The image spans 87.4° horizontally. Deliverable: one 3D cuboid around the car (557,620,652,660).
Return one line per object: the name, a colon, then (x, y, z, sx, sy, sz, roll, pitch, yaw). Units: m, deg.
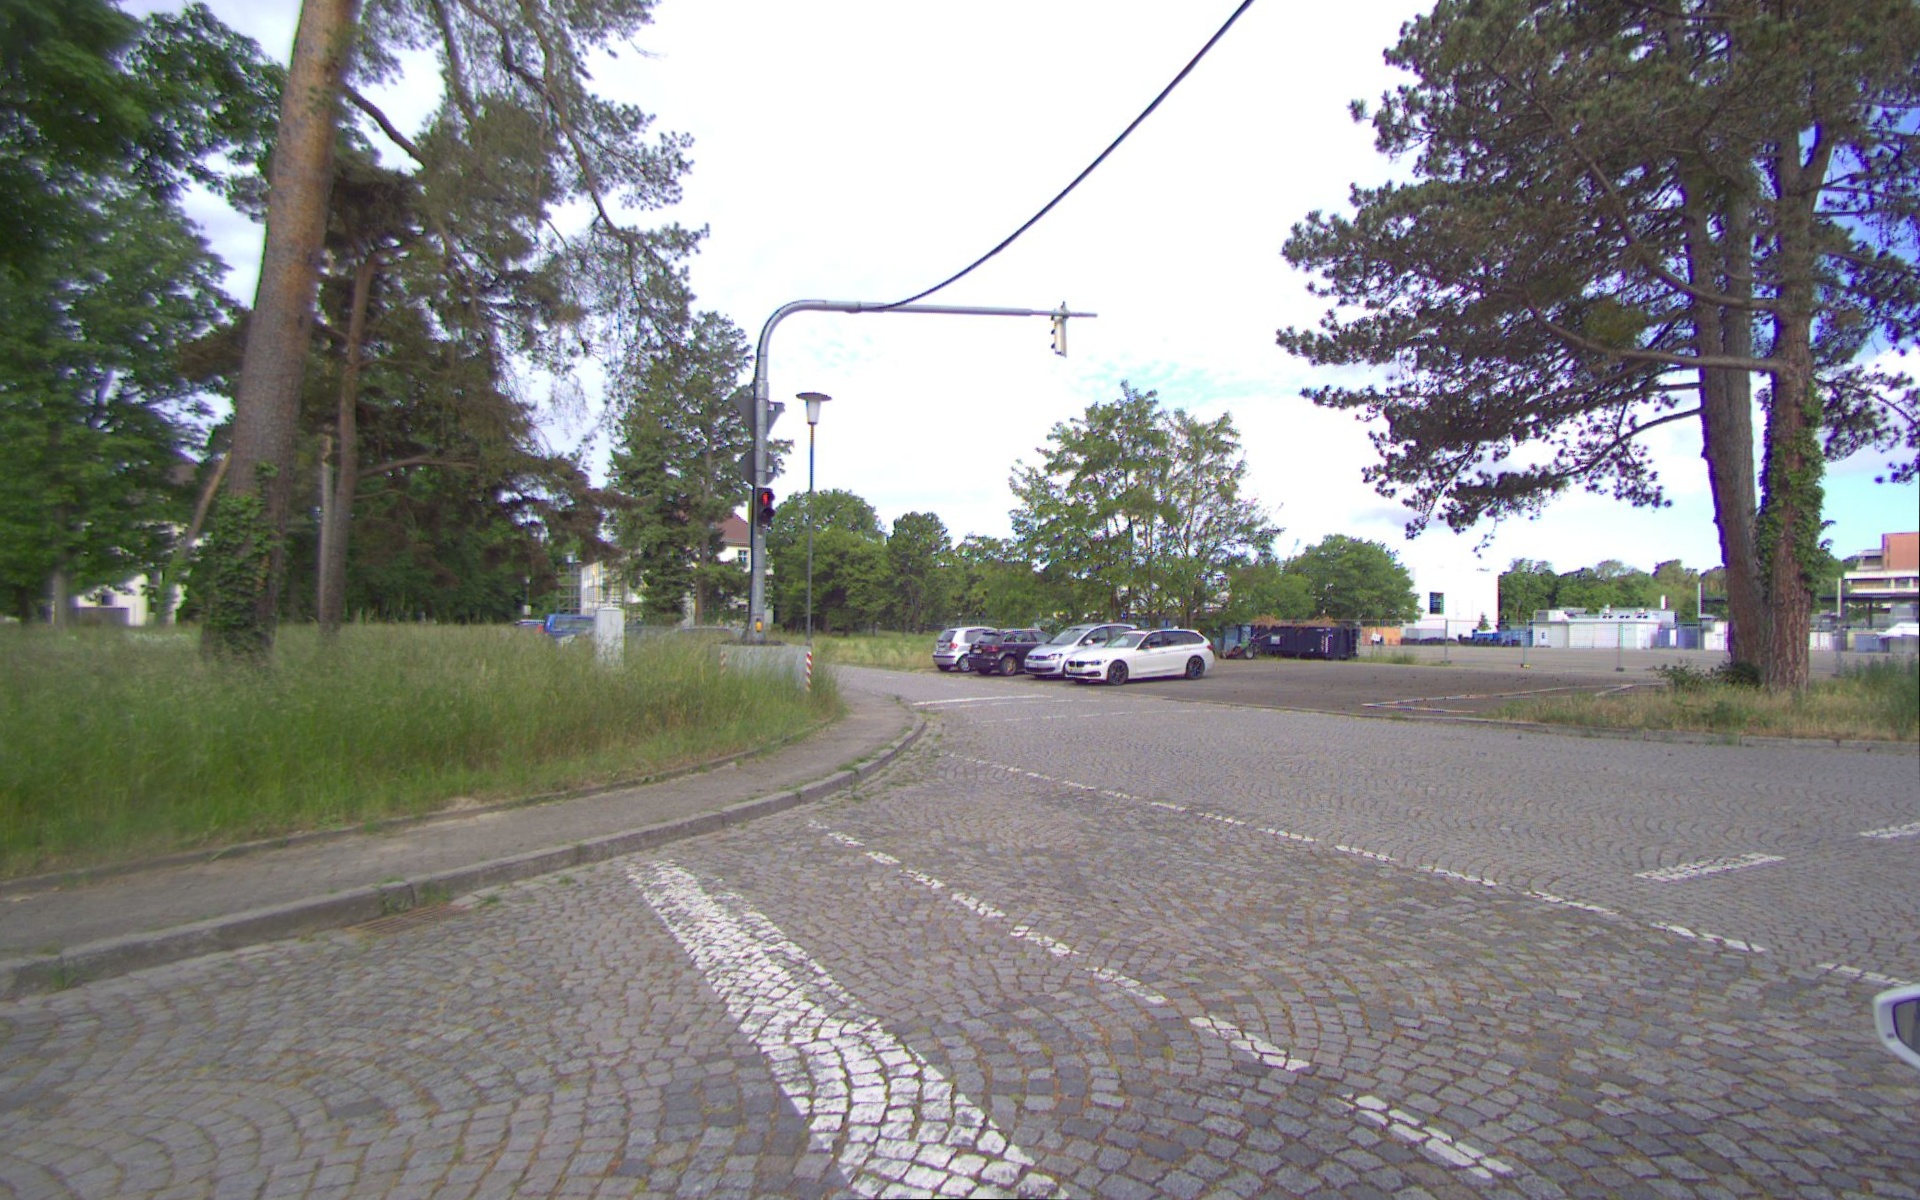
car: (-16.112, 1.783, 45.564, 3.947, 1.737, 1.680, 0, -1, -26)

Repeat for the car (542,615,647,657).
car: (-18.293, 1.767, 50.322, 4.733, 2.007, 1.984, 0, -1, -28)

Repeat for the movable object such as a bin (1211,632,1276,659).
movable object such as a bin: (11.865, 1.888, 41.970, 2.630, 1.061, 1.171, 2, -2, -33)

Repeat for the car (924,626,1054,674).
car: (1.024, 1.716, 35.008, 4.277, 1.587, 1.784, 1, -2, -31)

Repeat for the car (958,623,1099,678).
car: (2.246, 1.589, 32.627, 4.276, 1.522, 1.845, -1, 0, -31)

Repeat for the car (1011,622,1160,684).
car: (3.814, 1.548, 30.349, 4.276, 1.605, 1.812, -1, 0, -31)

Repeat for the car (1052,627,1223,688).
car: (5.017, 1.547, 28.168, 4.685, 1.461, 1.801, -1, 0, -31)
